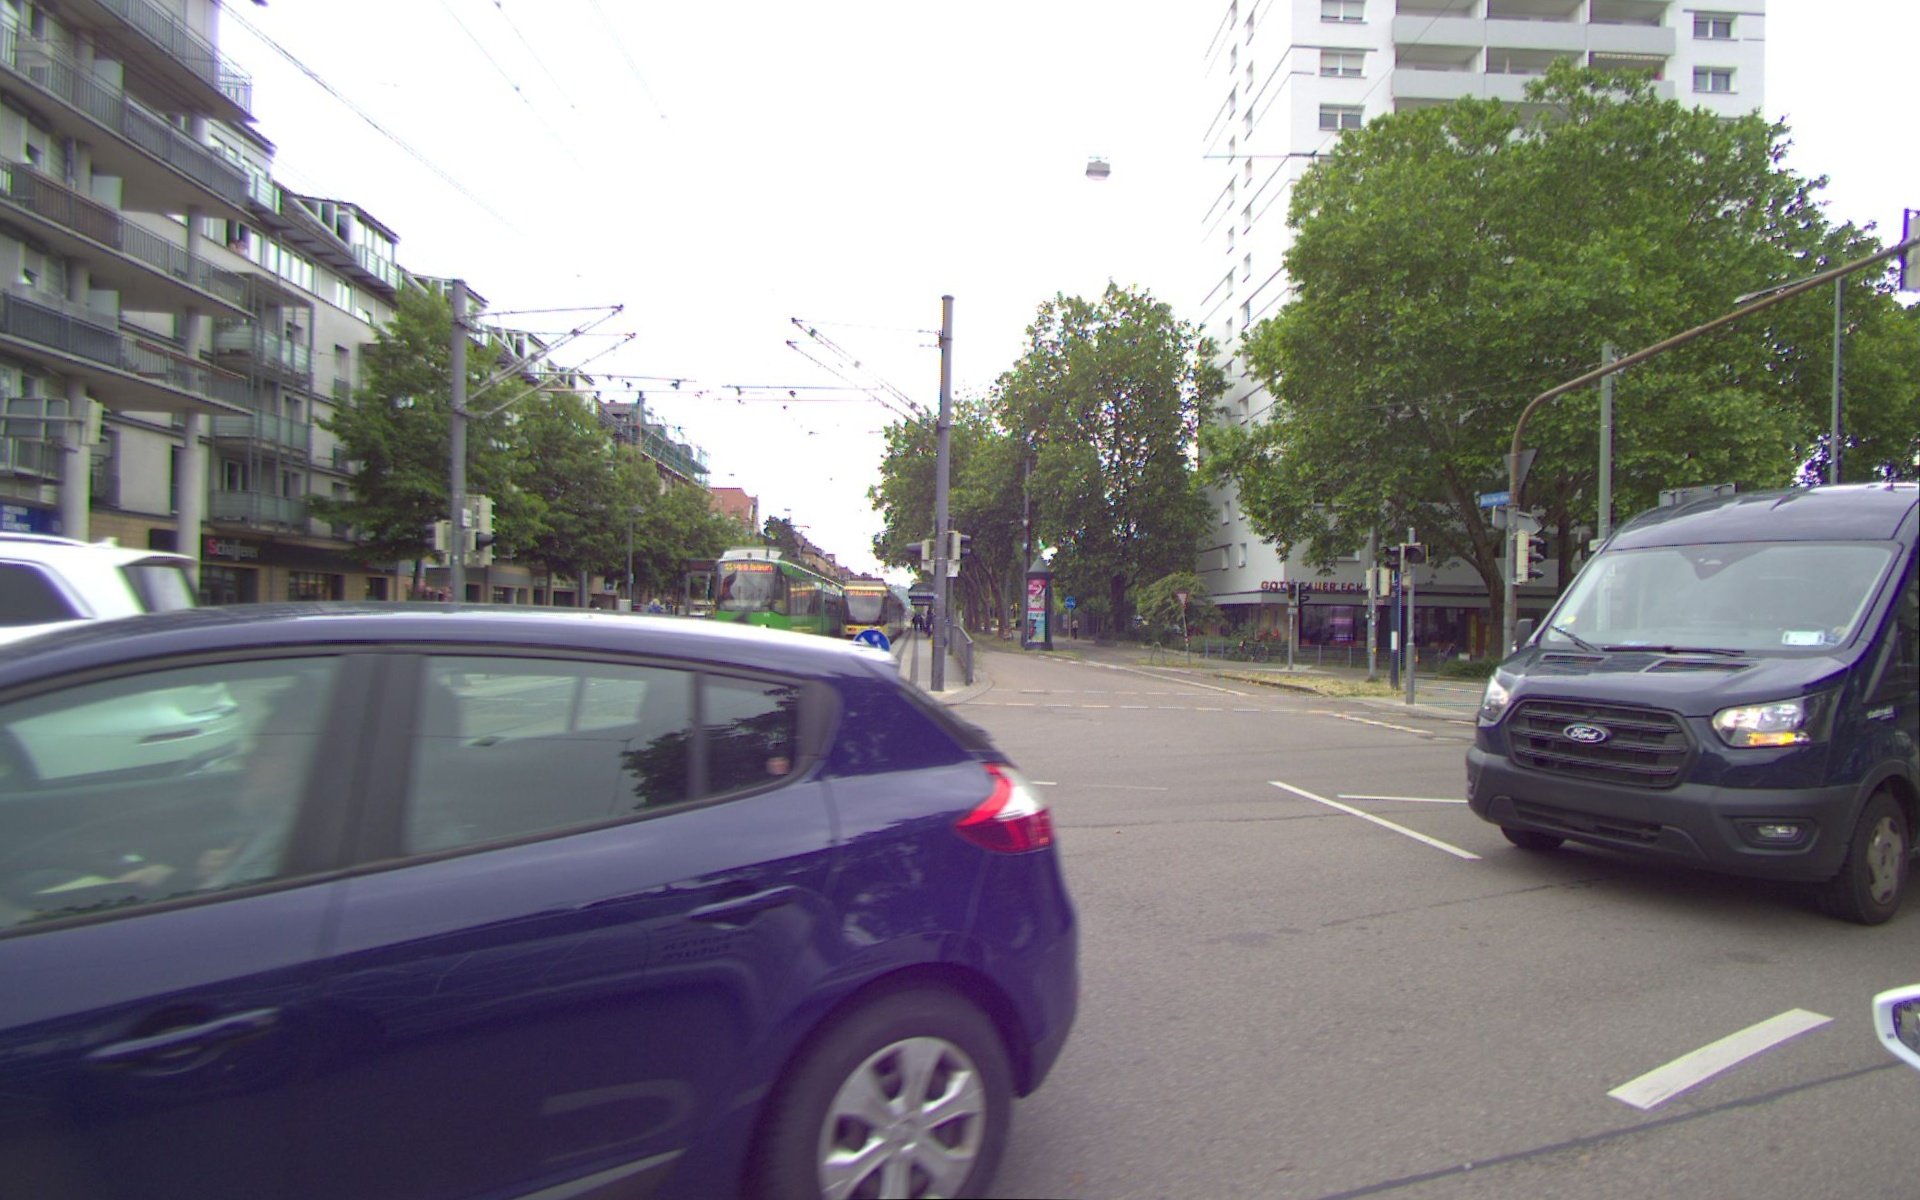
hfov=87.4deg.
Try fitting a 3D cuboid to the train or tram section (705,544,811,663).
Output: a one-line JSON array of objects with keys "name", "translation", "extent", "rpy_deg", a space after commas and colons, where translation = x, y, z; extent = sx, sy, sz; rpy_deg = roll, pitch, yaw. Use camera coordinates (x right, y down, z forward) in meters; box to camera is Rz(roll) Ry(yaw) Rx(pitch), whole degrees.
[{"name": "train or tram section", "translation": [-7.051, 0.182, 36.061], "extent": [2.634, 3.811, 7.260], "rpy_deg": [1, -1, -3]}]

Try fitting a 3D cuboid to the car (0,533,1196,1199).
[{"name": "car", "translation": [-1.479, 0.677, 2.252], "extent": [3.860, 1.509, 1.658], "rpy_deg": [2, -1, -31]}]

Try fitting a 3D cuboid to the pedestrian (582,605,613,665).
[{"name": "pedestrian", "translation": [-9.985, 0.966, 27.686], "extent": [0.577, 1.624, 0.733], "rpy_deg": [1, -1, -3]}]

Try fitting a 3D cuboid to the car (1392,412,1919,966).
[{"name": "car", "translation": [5.669, 0.472, 6.764], "extent": [5.509, 2.483, 2.125], "rpy_deg": [2, -1, -28]}]

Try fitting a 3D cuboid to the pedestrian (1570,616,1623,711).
[{"name": "pedestrian", "translation": [12.313, 1.216, 19.438], "extent": [0.498, 1.808, 0.700], "rpy_deg": [1, -1, -19]}]

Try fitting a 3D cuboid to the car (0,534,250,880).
[{"name": "car", "translation": [-7.158, 0.548, 5.406], "extent": [5.157, 1.850, 1.861], "rpy_deg": [1, -1, -26]}]

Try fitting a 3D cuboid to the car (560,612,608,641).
[{"name": "car", "translation": [-22.320, 1.562, 59.738], "extent": [1.658, 1.600, 3.997], "rpy_deg": [1, -1, -6]}]

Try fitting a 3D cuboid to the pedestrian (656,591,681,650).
[{"name": "pedestrian", "translation": [-9.489, 0.656, 32.722], "extent": [0.577, 1.889, 0.733], "rpy_deg": [1, -1, -3]}]

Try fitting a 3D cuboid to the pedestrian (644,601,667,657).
[{"name": "pedestrian", "translation": [-10.340, 0.992, 34.097], "extent": [0.604, 1.889, 0.481], "rpy_deg": [1, -1, -3]}]

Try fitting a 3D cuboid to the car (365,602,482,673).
[{"name": "car", "translation": [-15.923, 1.079, 30.045], "extent": [1.658, 1.939, 3.997], "rpy_deg": [1, -1, -6]}]

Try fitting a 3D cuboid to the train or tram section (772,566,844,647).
[{"name": "train or tram section", "translation": [-7.879, 0.428, 53.515], "extent": [2.634, 3.811, 11.059], "rpy_deg": [1, -1, -3]}]

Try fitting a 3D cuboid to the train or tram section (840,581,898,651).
[{"name": "train or tram section", "translation": [-4.797, 0.902, 55.032], "extent": [2.572, 3.342, 13.010], "rpy_deg": [1, -1, -3]}]

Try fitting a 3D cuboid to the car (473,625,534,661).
[{"name": "car", "translation": [-21.368, 1.982, 47.149], "extent": [1.783, 1.545, 3.990], "rpy_deg": [2, -1, -12]}]

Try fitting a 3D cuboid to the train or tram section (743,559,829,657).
[{"name": "train or tram section", "translation": [-7.403, 0.389, 43.846], "extent": [2.634, 3.811, 8.297], "rpy_deg": [1, -1, -3]}]
